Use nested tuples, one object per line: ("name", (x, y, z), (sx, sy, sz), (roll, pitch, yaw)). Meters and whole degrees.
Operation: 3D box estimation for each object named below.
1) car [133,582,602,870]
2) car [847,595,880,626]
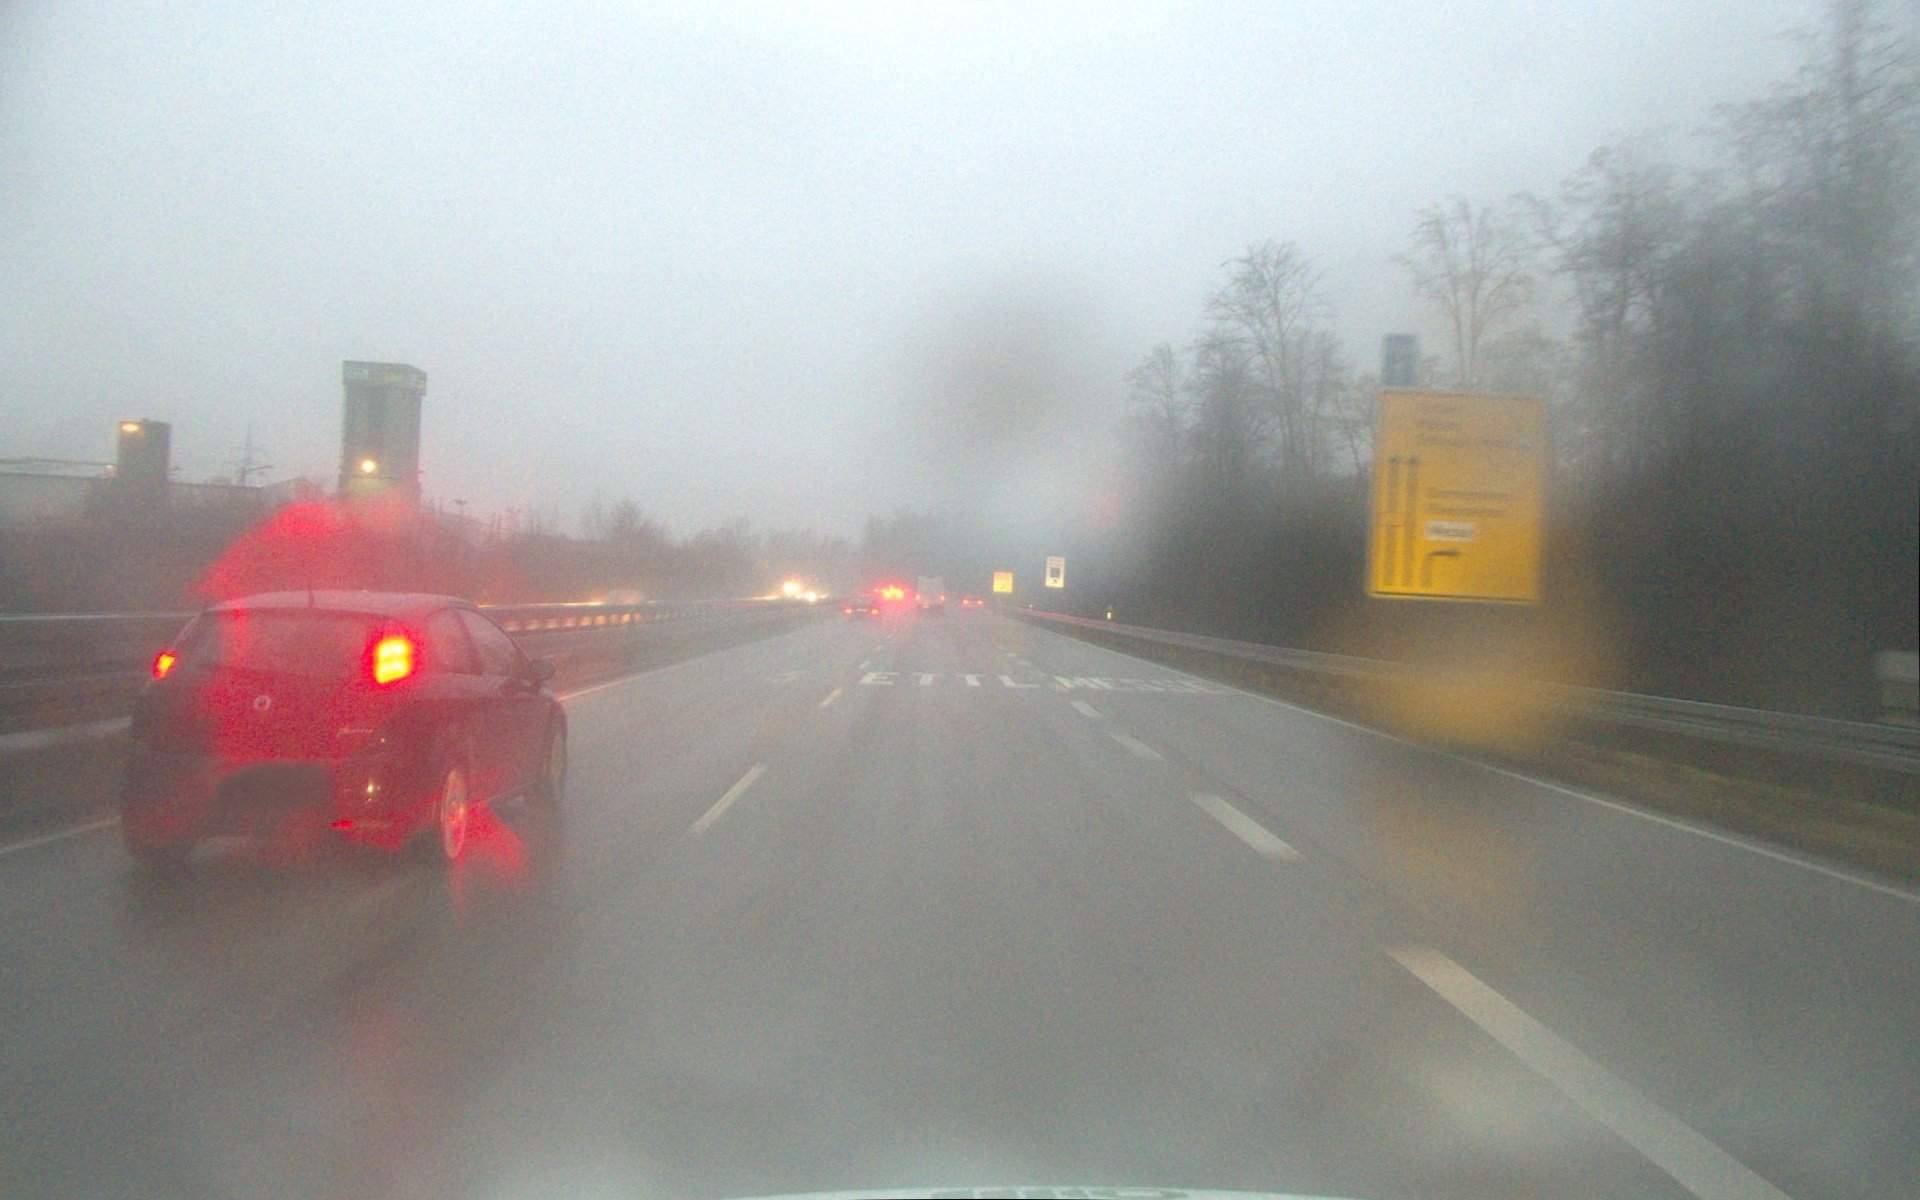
("car", (-3.496, 0.661, 10.561), (1.593, 1.416, 3.998), (3, 0, -2))
("car", (-4.561, 0.488, 78.614), (1.387, 1.340, 3.082), (3, 0, -1))
